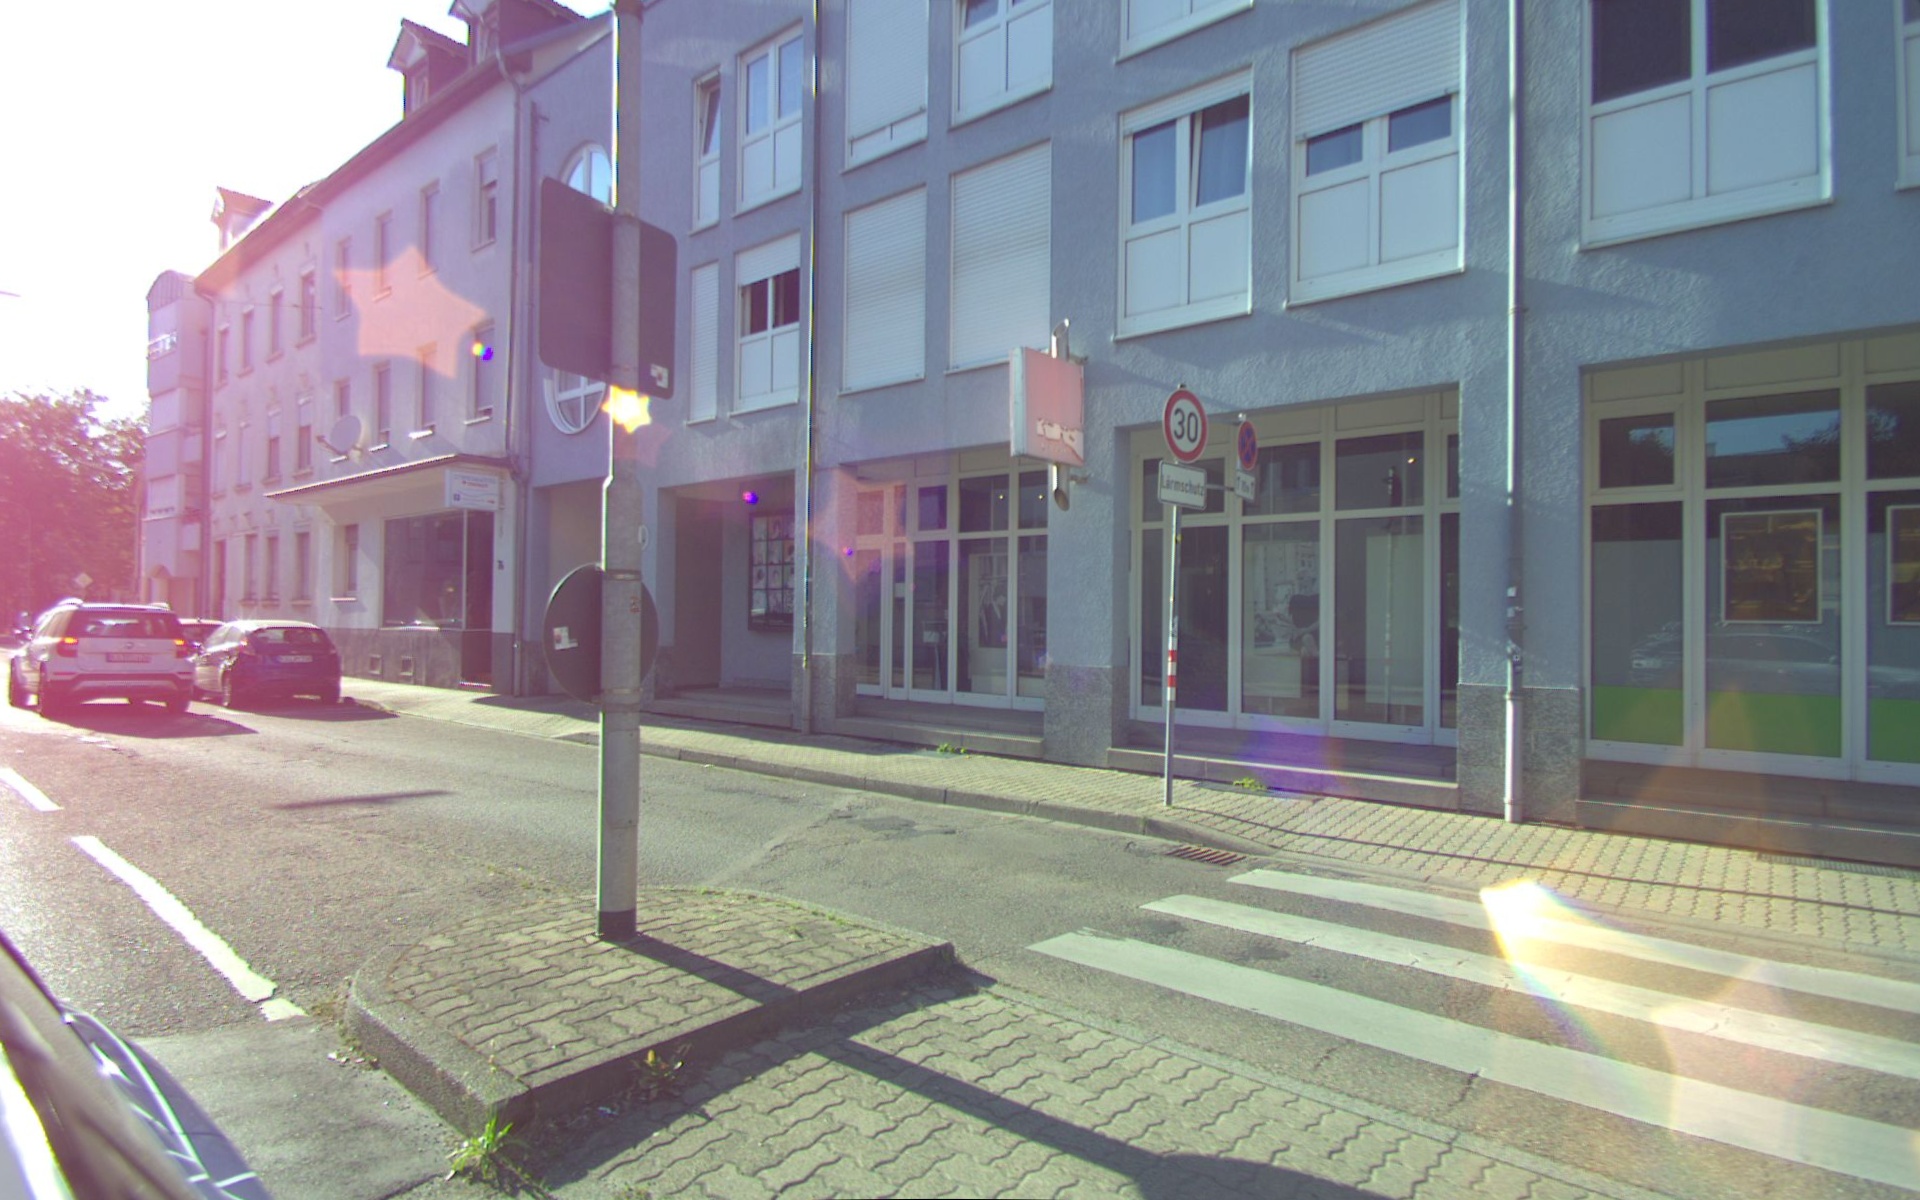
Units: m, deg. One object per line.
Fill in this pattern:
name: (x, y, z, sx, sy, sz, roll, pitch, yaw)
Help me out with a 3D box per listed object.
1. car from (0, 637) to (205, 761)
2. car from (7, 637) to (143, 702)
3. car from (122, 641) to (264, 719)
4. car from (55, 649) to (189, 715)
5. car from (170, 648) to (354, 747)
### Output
car: (-13.743, 1.484, 16.123, 4.189, 1.714, 1.789, -2, -5, 40)
car: (-25.248, 1.915, 28.812, 5.214, 1.660, 1.975, -2, -2, 38)
car: (-17.006, 1.700, 22.390, 3.804, 1.538, 1.644, -2, -2, 39)
car: (-20.945, 1.995, 25.246, 4.122, 1.507, 1.747, -2, -5, 39)
car: (-12.619, 1.655, 18.219, 3.955, 1.511, 1.713, -1, -2, 40)
